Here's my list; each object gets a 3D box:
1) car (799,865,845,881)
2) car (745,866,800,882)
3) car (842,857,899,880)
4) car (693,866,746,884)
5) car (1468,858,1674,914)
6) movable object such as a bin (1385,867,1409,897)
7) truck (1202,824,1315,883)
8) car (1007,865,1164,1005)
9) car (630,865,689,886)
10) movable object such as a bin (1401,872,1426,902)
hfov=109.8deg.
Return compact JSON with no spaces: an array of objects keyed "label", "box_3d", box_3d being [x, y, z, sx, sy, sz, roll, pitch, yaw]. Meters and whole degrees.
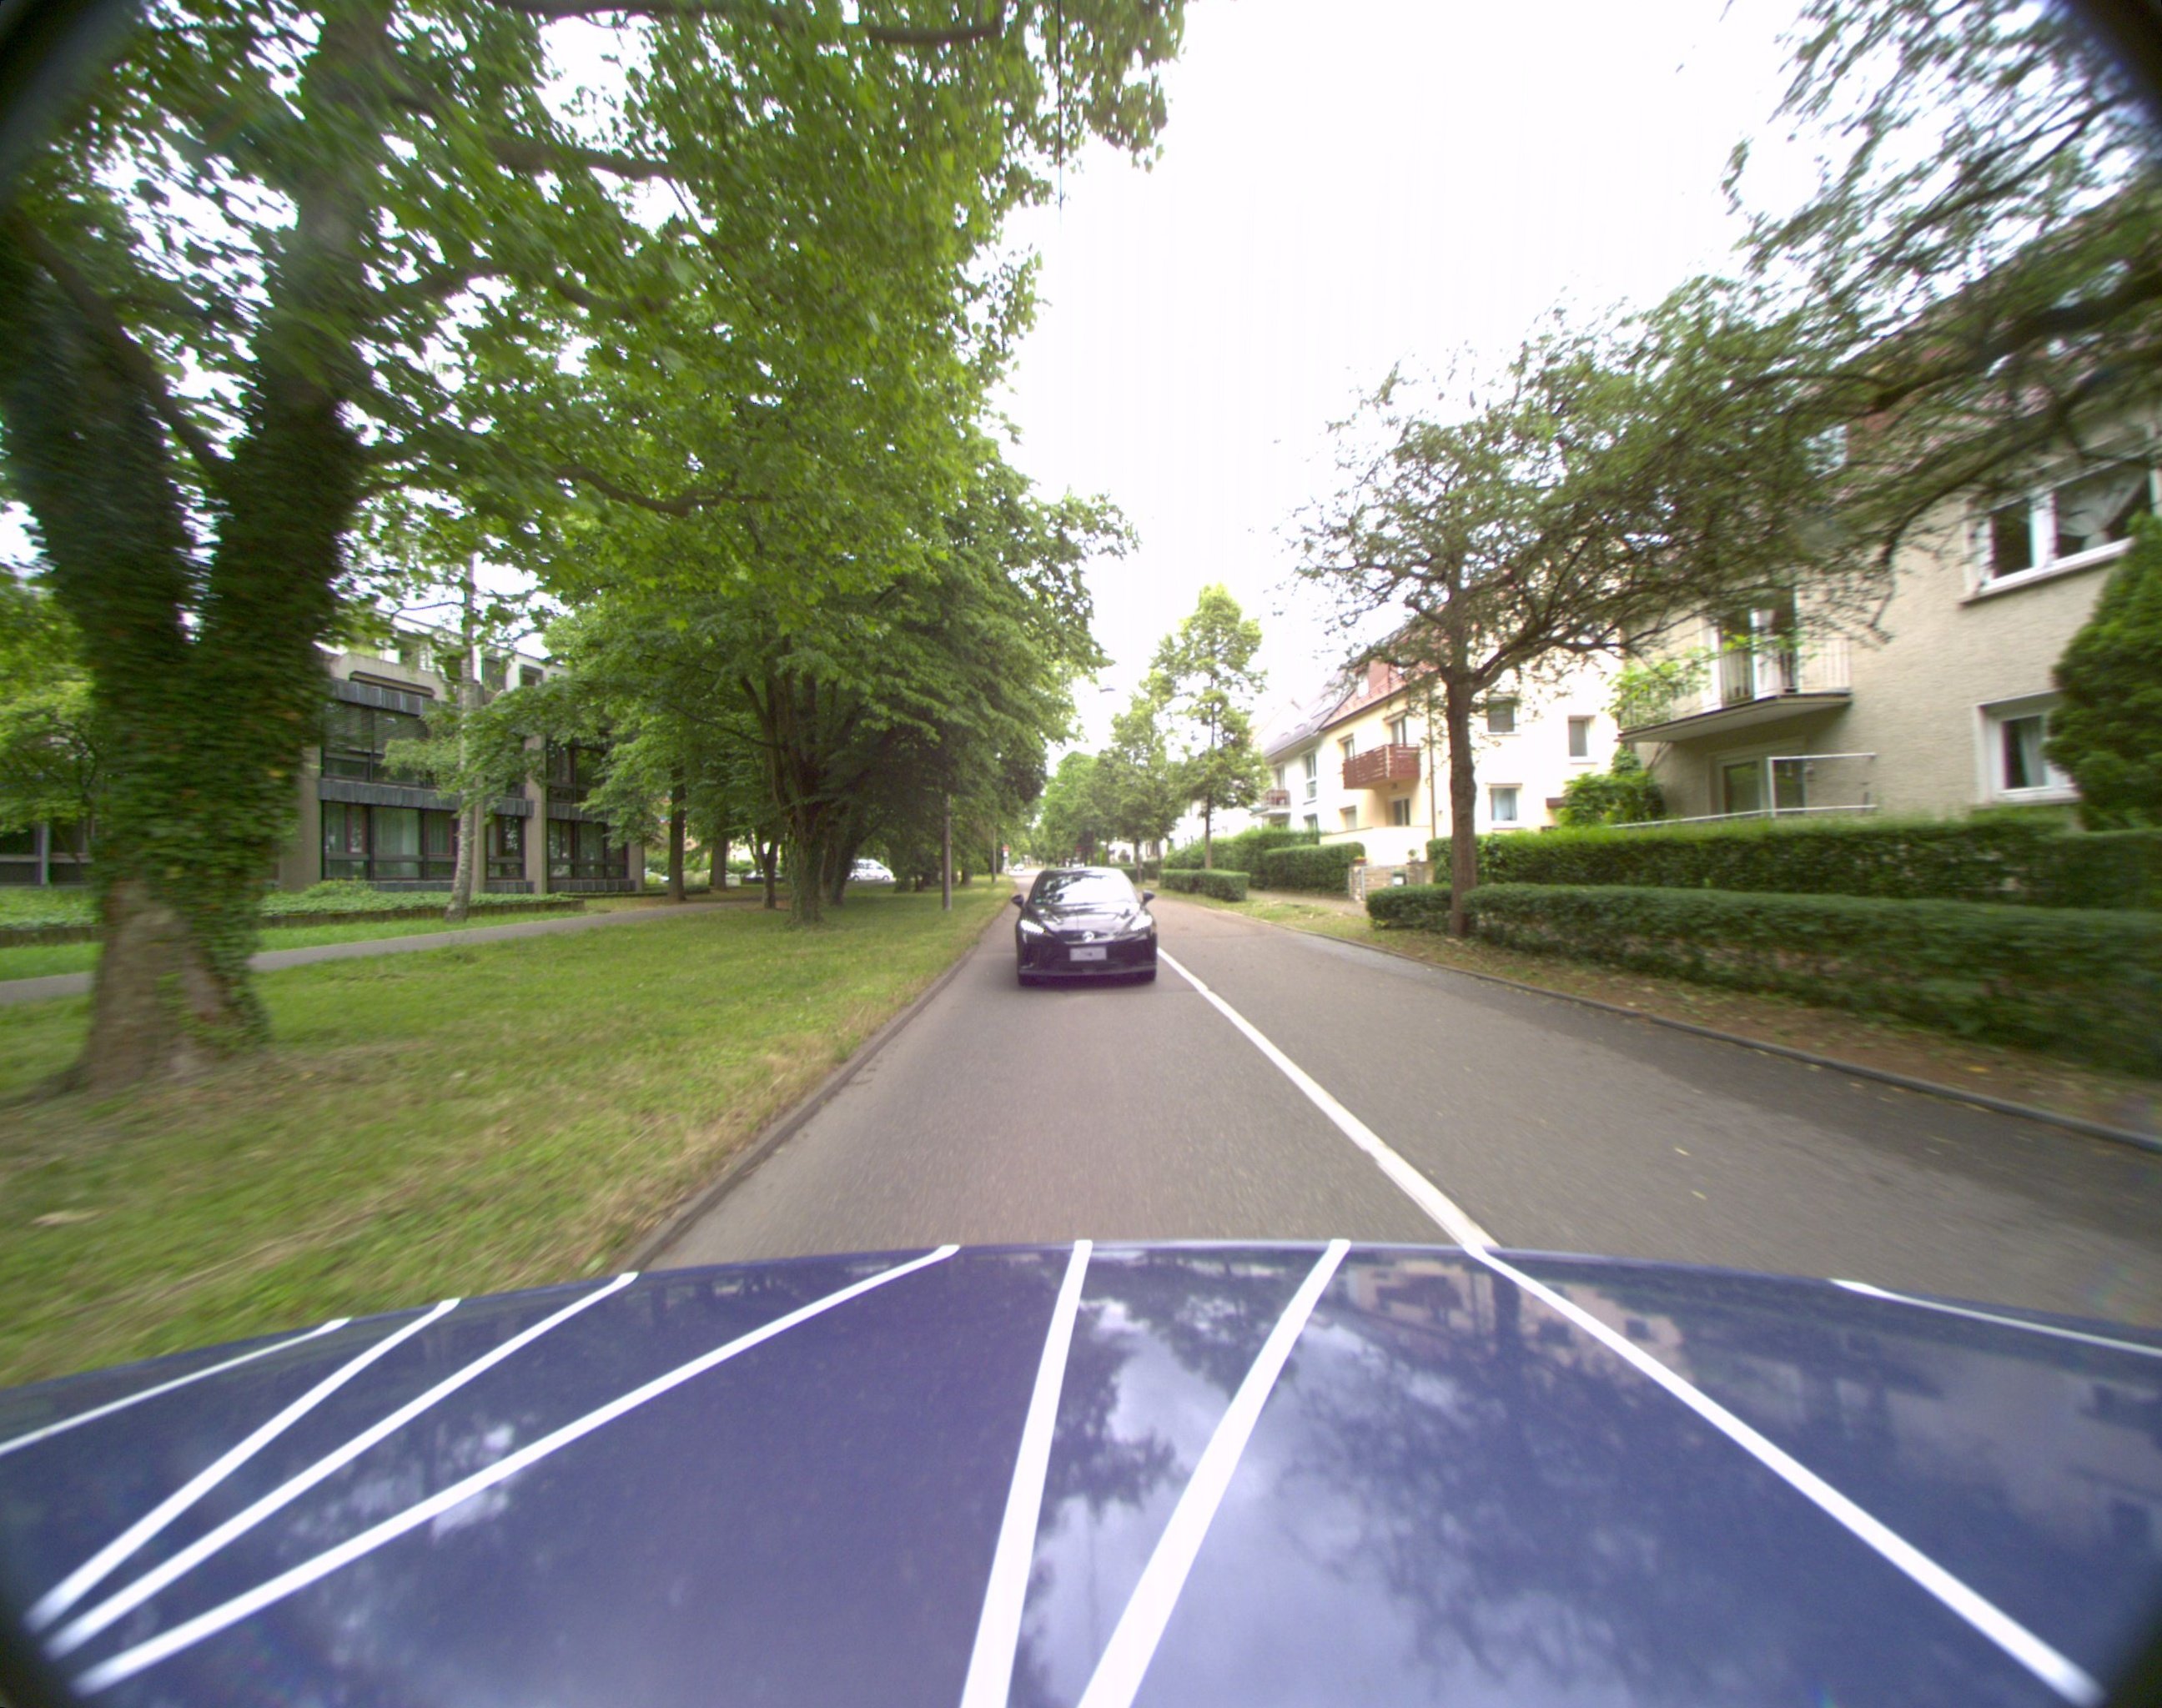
[{"label":"car","box_3d":[-26.374,1.911,77.389,4.008,1.501,1.795,0,-2,-44]},{"label":"car","box_3d":[-29.777,1.922,73.488,1.795,1.501,4.614,-2,-1,40]},{"label":"car","box_3d":[-22.439,1.497,80.963,5.337,2.285,2.287,-1,-1,-38]},{"label":"car","box_3d":[-33.051,1.936,69.589,1.795,1.501,4.009,-2,-1,38]},{"label":"car","box_3d":[11.877,0.743,18.571,3.998,1.192,1.697,-2,0,-4]},{"label":"movable object such as a bin","box_3d":[9.867,0.877,23.730,0.489,0.906,0.570,0,0,-6]},{"label":"truck","box_3d":[10.201,-0.024,43.945,5.813,3.112,2.517,-2,0,-5]},{"label":"car","box_3d":[0.021,0.991,11.265,1.799,1.552,4.471,-3,0,-1]},{"label":"car","box_3d":[-36.127,1.830,65.242,1.795,1.664,4.009,-2,-1,38]},{"label":"movable object such as a bin","box_3d":[10.394,1.024,23.759,0.489,0.906,0.570,0,0,-6]}]
